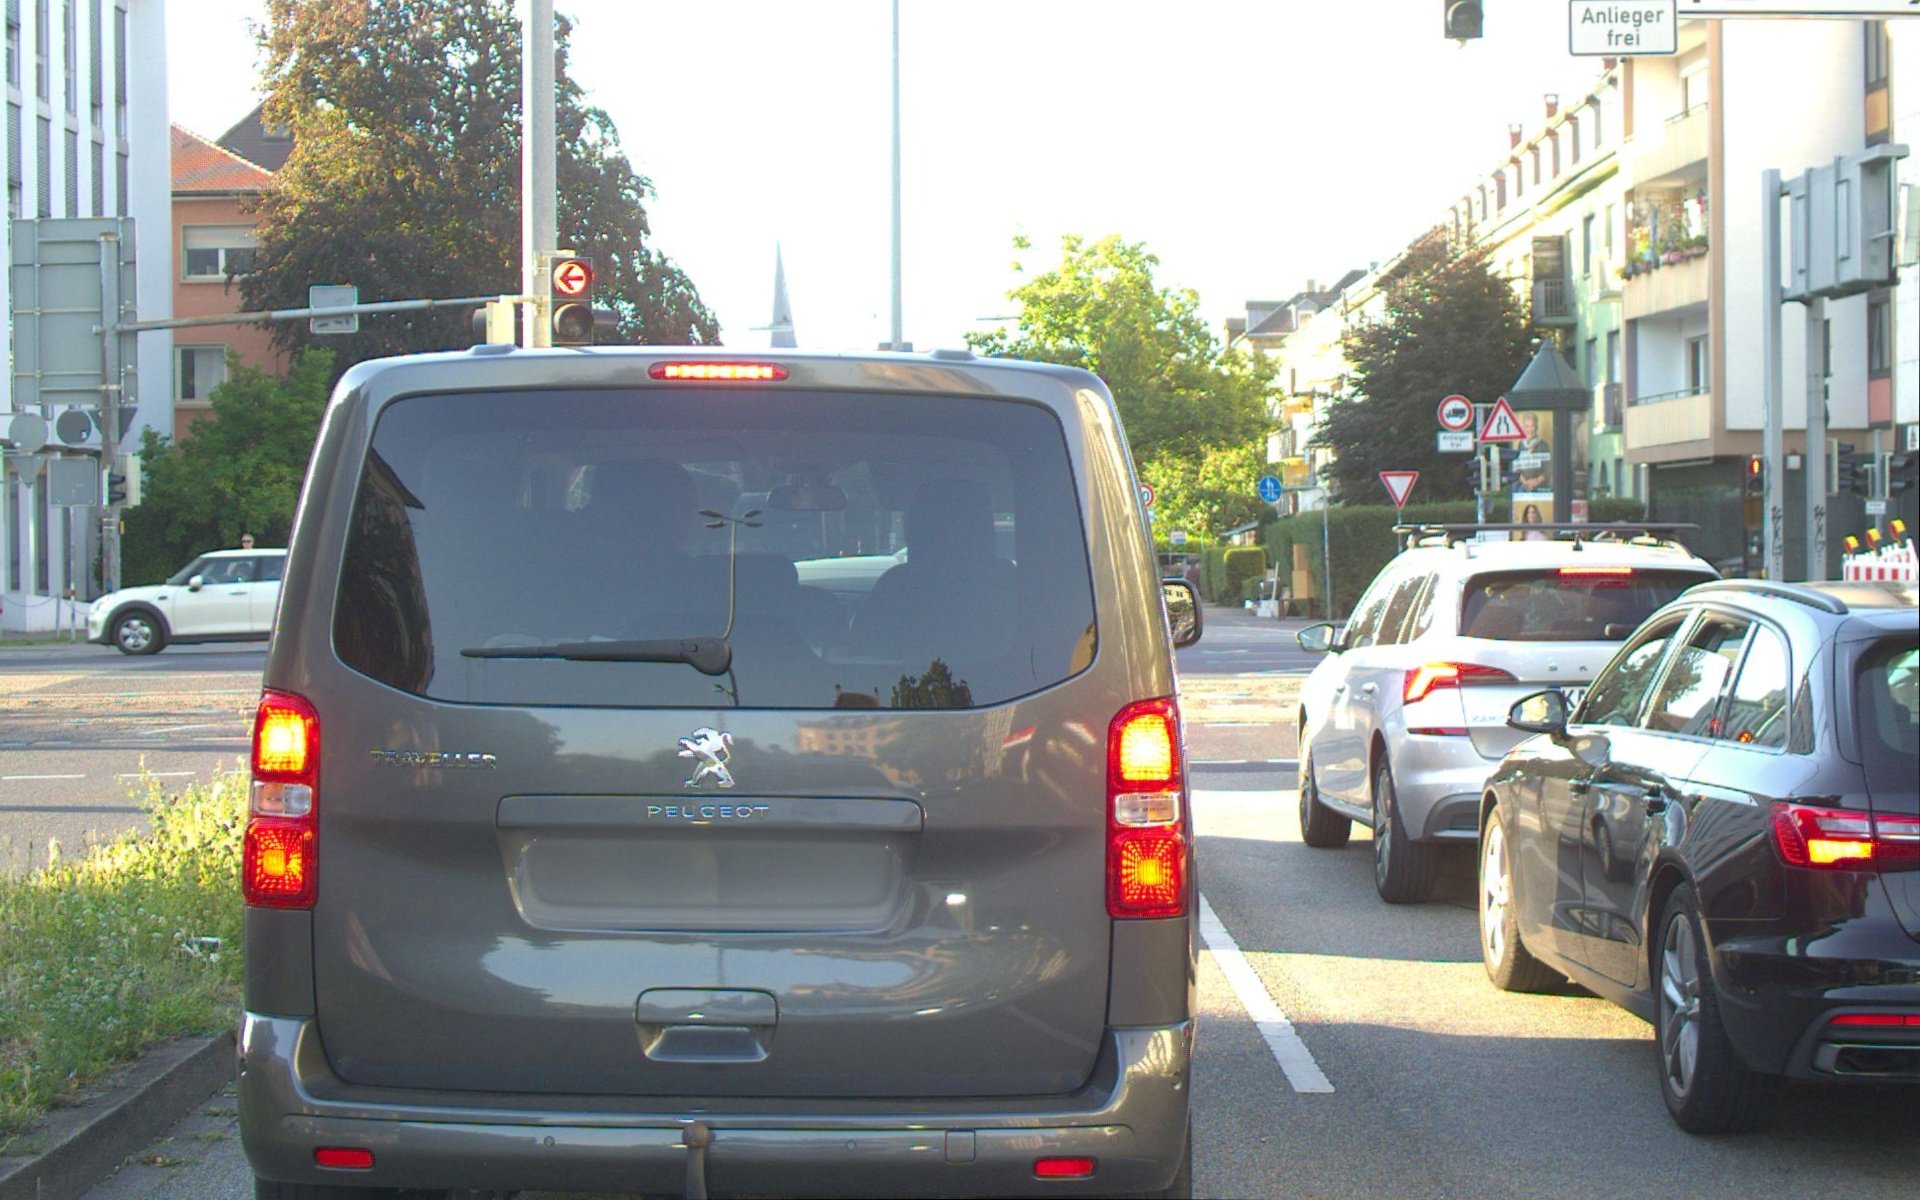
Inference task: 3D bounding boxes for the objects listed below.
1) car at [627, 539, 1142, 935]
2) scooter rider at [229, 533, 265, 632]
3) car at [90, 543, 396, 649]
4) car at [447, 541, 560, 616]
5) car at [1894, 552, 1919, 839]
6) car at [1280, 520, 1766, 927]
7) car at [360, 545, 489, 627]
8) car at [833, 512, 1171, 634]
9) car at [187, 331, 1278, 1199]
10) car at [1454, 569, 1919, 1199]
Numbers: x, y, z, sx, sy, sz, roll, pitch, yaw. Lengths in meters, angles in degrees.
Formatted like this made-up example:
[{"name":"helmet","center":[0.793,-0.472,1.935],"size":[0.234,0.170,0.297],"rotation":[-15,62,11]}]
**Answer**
[{"name":"car","center":[-0.316,0.497,15.393],"size":[1.993,1.525,4.000],"rotation":[0,1,-1]},{"name":"scooter rider","center":[-12.277,-0.308,59.204],"size":[0.481,1.691,0.636],"rotation":[0,1,-1]},{"name":"car","center":[-9.903,-0.071,47.729],"size":[3.986,1.415,1.788],"rotation":[-1,1,-6]},{"name":"car","center":[-9.120,-0.453,68.877],"size":[1.856,1.415,4.001],"rotation":[-1,1,-2]},{"name":"car","center":[5.606,0.500,16.149],"size":[1.504,1.444,3.305],"rotation":[0,1,-1]},{"name":"car","center":[2.432,0.461,15.668],"size":[1.528,1.608,3.745],"rotation":[1,1,-1]},{"name":"car","center":[-9.787,-0.281,63.060],"size":[1.856,1.415,4.001],"rotation":[-1,1,-2]},{"name":"car","center":[0.513,-0.368,45.335],"size":[4.338,1.544,1.788],"rotation":[0,1,-3]},{"name":"car","center":[-0.433,0.427,8.359],"size":[1.907,1.857,4.527],"rotation":[1,1,-1]},{"name":"car","center":[2.603,0.656,9.895],"size":[1.681,1.416,4.214],"rotation":[1,1,-1]}]
